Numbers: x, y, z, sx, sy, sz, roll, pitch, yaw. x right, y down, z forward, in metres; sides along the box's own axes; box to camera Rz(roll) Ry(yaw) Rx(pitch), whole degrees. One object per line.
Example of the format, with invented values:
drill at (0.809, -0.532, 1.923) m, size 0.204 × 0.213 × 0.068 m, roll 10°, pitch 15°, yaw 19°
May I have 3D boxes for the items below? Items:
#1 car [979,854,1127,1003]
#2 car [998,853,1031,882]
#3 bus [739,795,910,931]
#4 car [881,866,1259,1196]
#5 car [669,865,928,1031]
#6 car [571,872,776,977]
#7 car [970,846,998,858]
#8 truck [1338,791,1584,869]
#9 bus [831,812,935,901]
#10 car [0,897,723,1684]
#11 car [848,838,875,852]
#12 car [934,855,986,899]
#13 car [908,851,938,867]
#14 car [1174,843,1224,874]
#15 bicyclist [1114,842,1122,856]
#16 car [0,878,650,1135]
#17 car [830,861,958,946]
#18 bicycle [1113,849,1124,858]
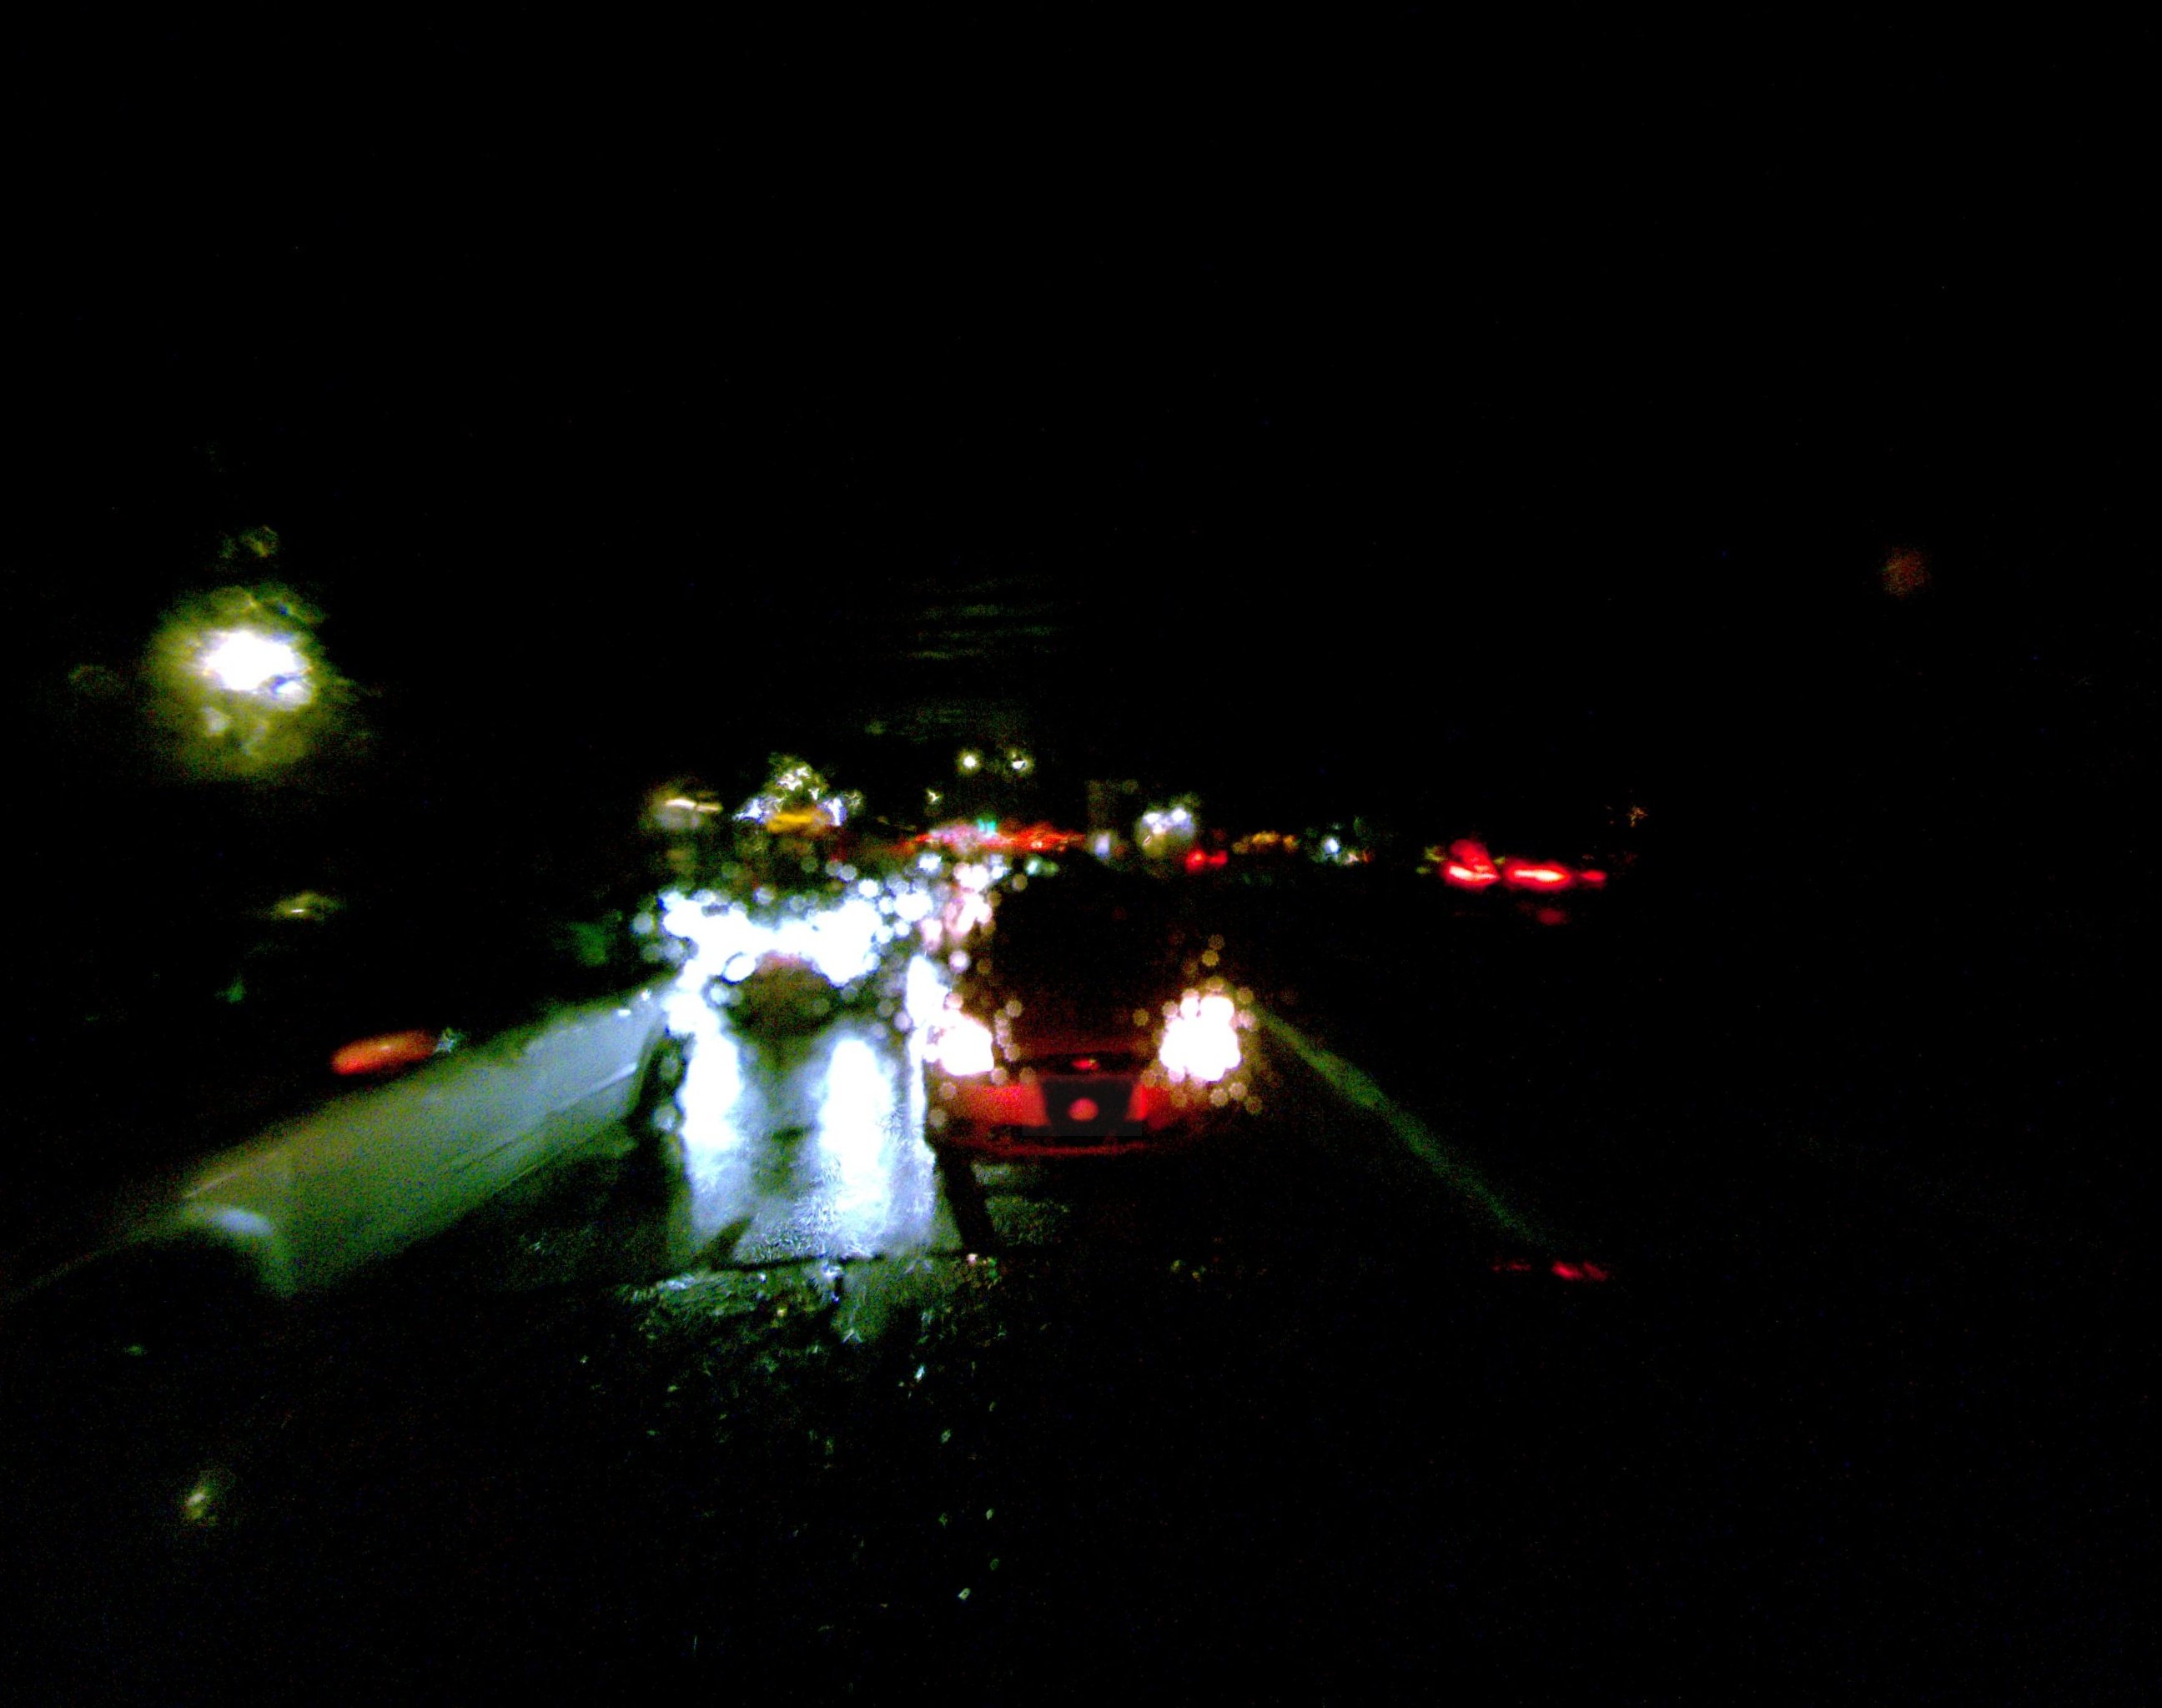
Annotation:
car at (-0.391, 0.870, 10.845) m, size 1.724 × 1.695 × 3.972 m, roll 0°, pitch 1°, yaw -2°
car at (-3.683, 0.680, 41.669) m, size 1.725 × 1.478 × 4.159 m, roll 0°, pitch 1°, yaw -6°
bus at (-7.349, 0.146, 23.425) m, size 2.742 × 3.258 × 9.694 m, roll -2°, pitch 1°, yaw -5°
car at (-0.067, 0.859, 5.534) m, size 1.755 × 1.438 × 3.973 m, roll 0°, pitch 1°, yaw 0°
car at (-3.320, 0.998, 9.886) m, size 1.724 × 1.478 × 4.161 m, roll -4°, pitch 1°, yaw 0°
car at (-7.142, 1.135, 13.858) m, size 1.725 × 1.478 × 4.160 m, roll 0°, pitch 1°, yaw -4°
car at (-12.499, -0.299, 97.884) m, size 2.045 × 1.478 × 4.487 m, roll 0°, pitch 1°, yaw -31°
truck at (23.566, -1.449, 47.806) m, size 13.671 × 4.416 × 2.743 m, roll -1°, pitch 1°, yaw 7°
bus at (-8.275, 0.026, 33.060) m, size 2.742 × 3.219 × 9.694 m, roll -2°, pitch 1°, yaw -5°
car at (-3.159, 1.031, 2.773) m, size 1.724 × 1.438 × 4.161 m, roll -1°, pitch 1°, yaw 0°
car at (-23.738, -0.951, 81.961) m, size 1.712 × 1.382 × 3.990 m, roll -2°, pitch 1°, yaw -32°
car at (-4.513, 0.813, 28.800) m, size 1.725 × 1.478 × 4.159 m, roll 0°, pitch 1°, yaw -6°
car at (-14.707, 0.447, 70.652) m, size 1.728 × 1.478 × 4.152 m, roll 0°, pitch 1°, yaw -27°
car at (6.908, 0.228, 44.809) m, size 1.755 × 1.699 × 4.495 m, roll 0°, pitch 1°, yaw -7°
bicyclist at (3.787, -0.542, 77.663) m, size 0.629 × 1.427 × 1.187 m, roll -1°, pitch 1°, yaw -10°
car at (-6.439, 1.091, 7.420) m, size 1.724 × 1.478 × 4.786 m, roll -1°, pitch 1°, yaw 0°
car at (-3.699, 0.921, 15.743) m, size 1.698 × 1.455 × 3.973 m, roll 0°, pitch 1°, yaw 0°
bicycle at (3.785, -0.039, 77.692) m, size 0.629 × 0.899 × 2.211 m, roll -1°, pitch 1°, yaw -10°
